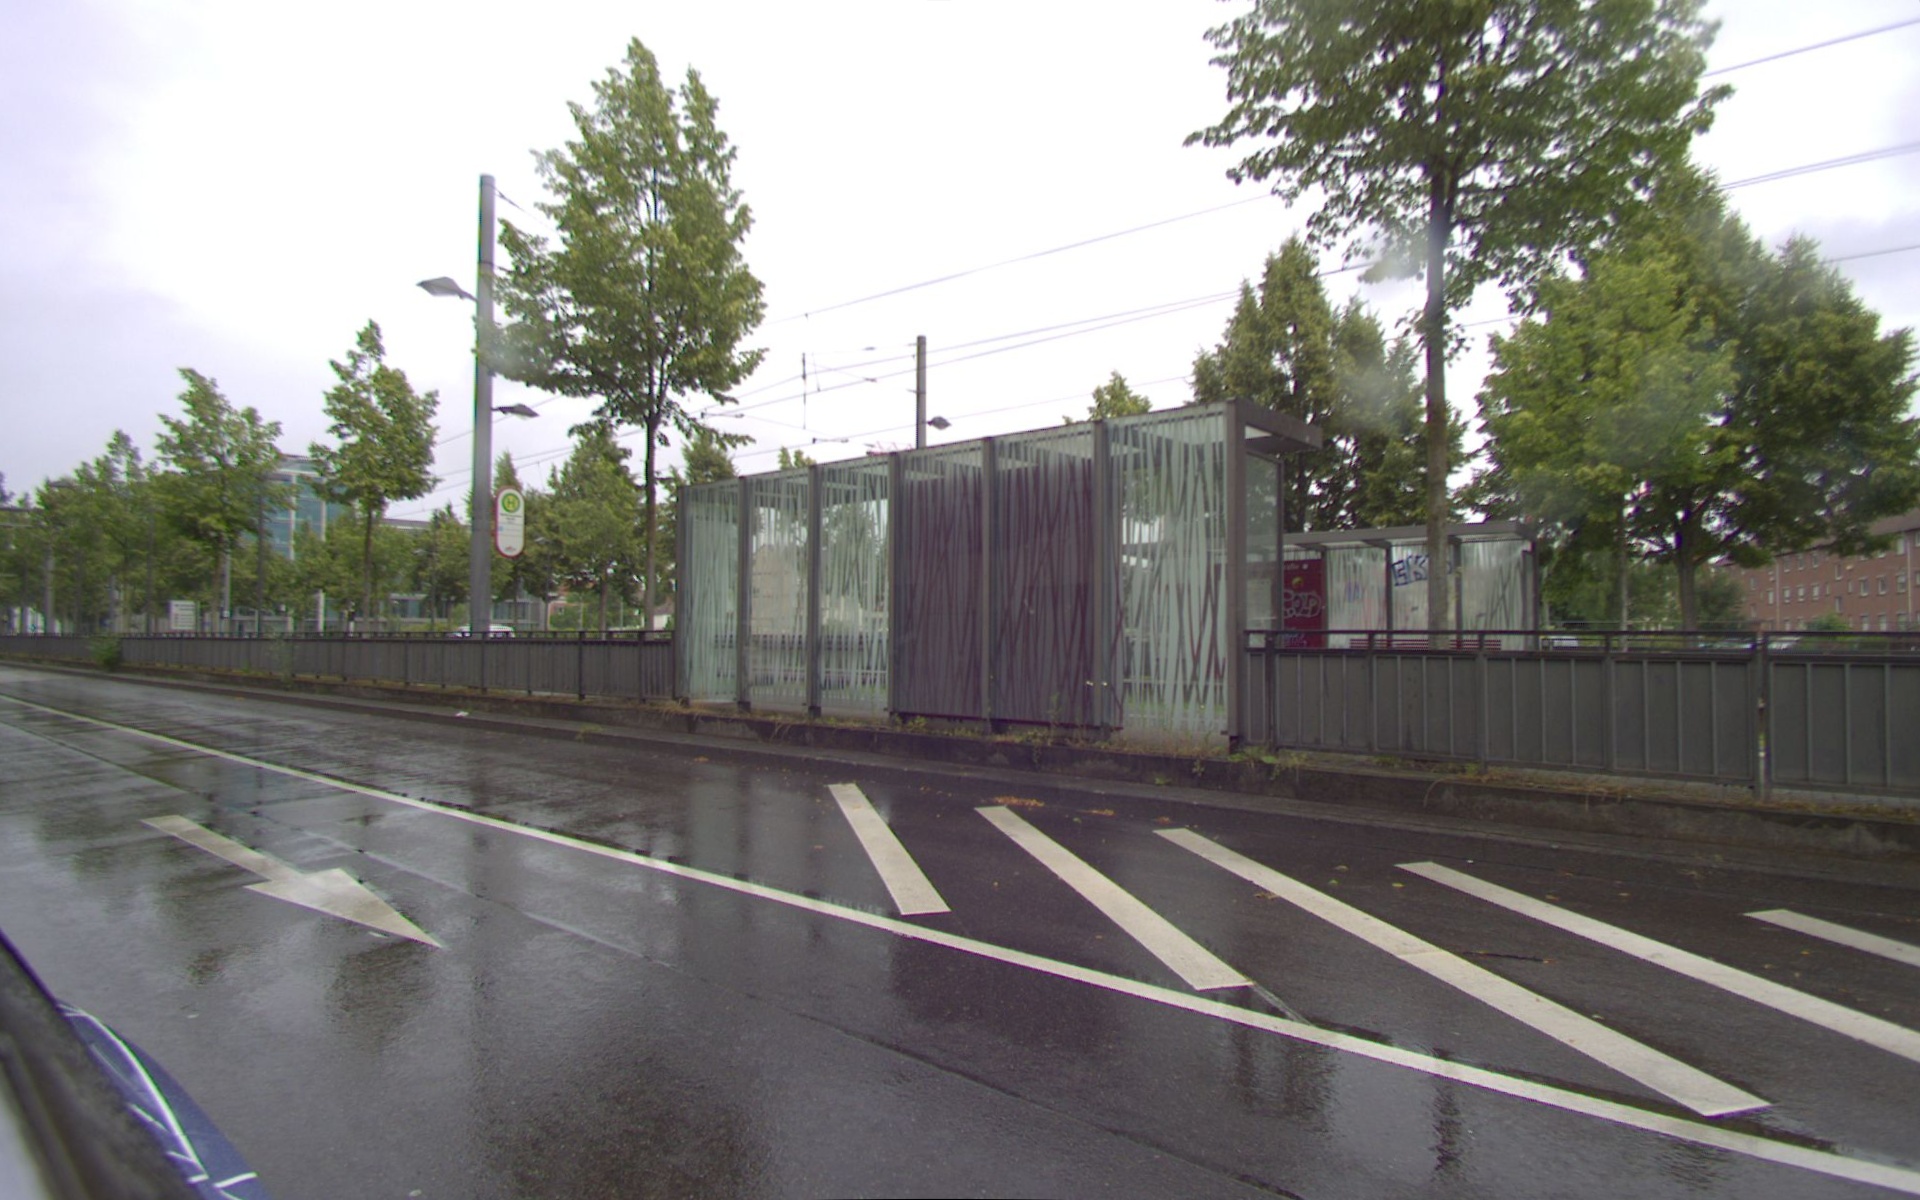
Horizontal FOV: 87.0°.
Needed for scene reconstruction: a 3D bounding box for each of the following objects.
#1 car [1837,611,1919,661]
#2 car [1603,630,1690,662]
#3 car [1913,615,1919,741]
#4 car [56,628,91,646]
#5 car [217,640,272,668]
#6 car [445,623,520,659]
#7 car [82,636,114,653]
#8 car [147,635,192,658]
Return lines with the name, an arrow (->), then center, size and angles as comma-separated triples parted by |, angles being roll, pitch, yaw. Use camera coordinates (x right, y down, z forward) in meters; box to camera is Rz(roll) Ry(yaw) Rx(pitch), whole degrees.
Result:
car -> 48.402, 1.809, 51.469 | 5.481, 2.471, 1.976 | -1, 0, 35
car -> 43.268, 2.903, 63.888 | 4.414, 1.891, 1.855 | -1, 0, 34
car -> 16.768, 1.204, 14.777 | 3.998, 2.029, 1.738 | -2, -3, 41
car -> -92.312, 3.801, 105.379 | 3.994, 1.759, 1.975 | -1, 0, 38
car -> -49.093, 3.655, 69.439 | 3.994, 1.759, 1.975 | -1, 0, 38
car -> -25.094, 2.113, 53.174 | 3.994, 1.759, 1.975 | -1, 0, 38
car -> -95.877, 4.882, 112.567 | 3.994, 1.759, 1.975 | -1, 0, 38
car -> -64.123, 3.724, 82.104 | 3.994, 1.759, 1.975 | -1, 0, 38
